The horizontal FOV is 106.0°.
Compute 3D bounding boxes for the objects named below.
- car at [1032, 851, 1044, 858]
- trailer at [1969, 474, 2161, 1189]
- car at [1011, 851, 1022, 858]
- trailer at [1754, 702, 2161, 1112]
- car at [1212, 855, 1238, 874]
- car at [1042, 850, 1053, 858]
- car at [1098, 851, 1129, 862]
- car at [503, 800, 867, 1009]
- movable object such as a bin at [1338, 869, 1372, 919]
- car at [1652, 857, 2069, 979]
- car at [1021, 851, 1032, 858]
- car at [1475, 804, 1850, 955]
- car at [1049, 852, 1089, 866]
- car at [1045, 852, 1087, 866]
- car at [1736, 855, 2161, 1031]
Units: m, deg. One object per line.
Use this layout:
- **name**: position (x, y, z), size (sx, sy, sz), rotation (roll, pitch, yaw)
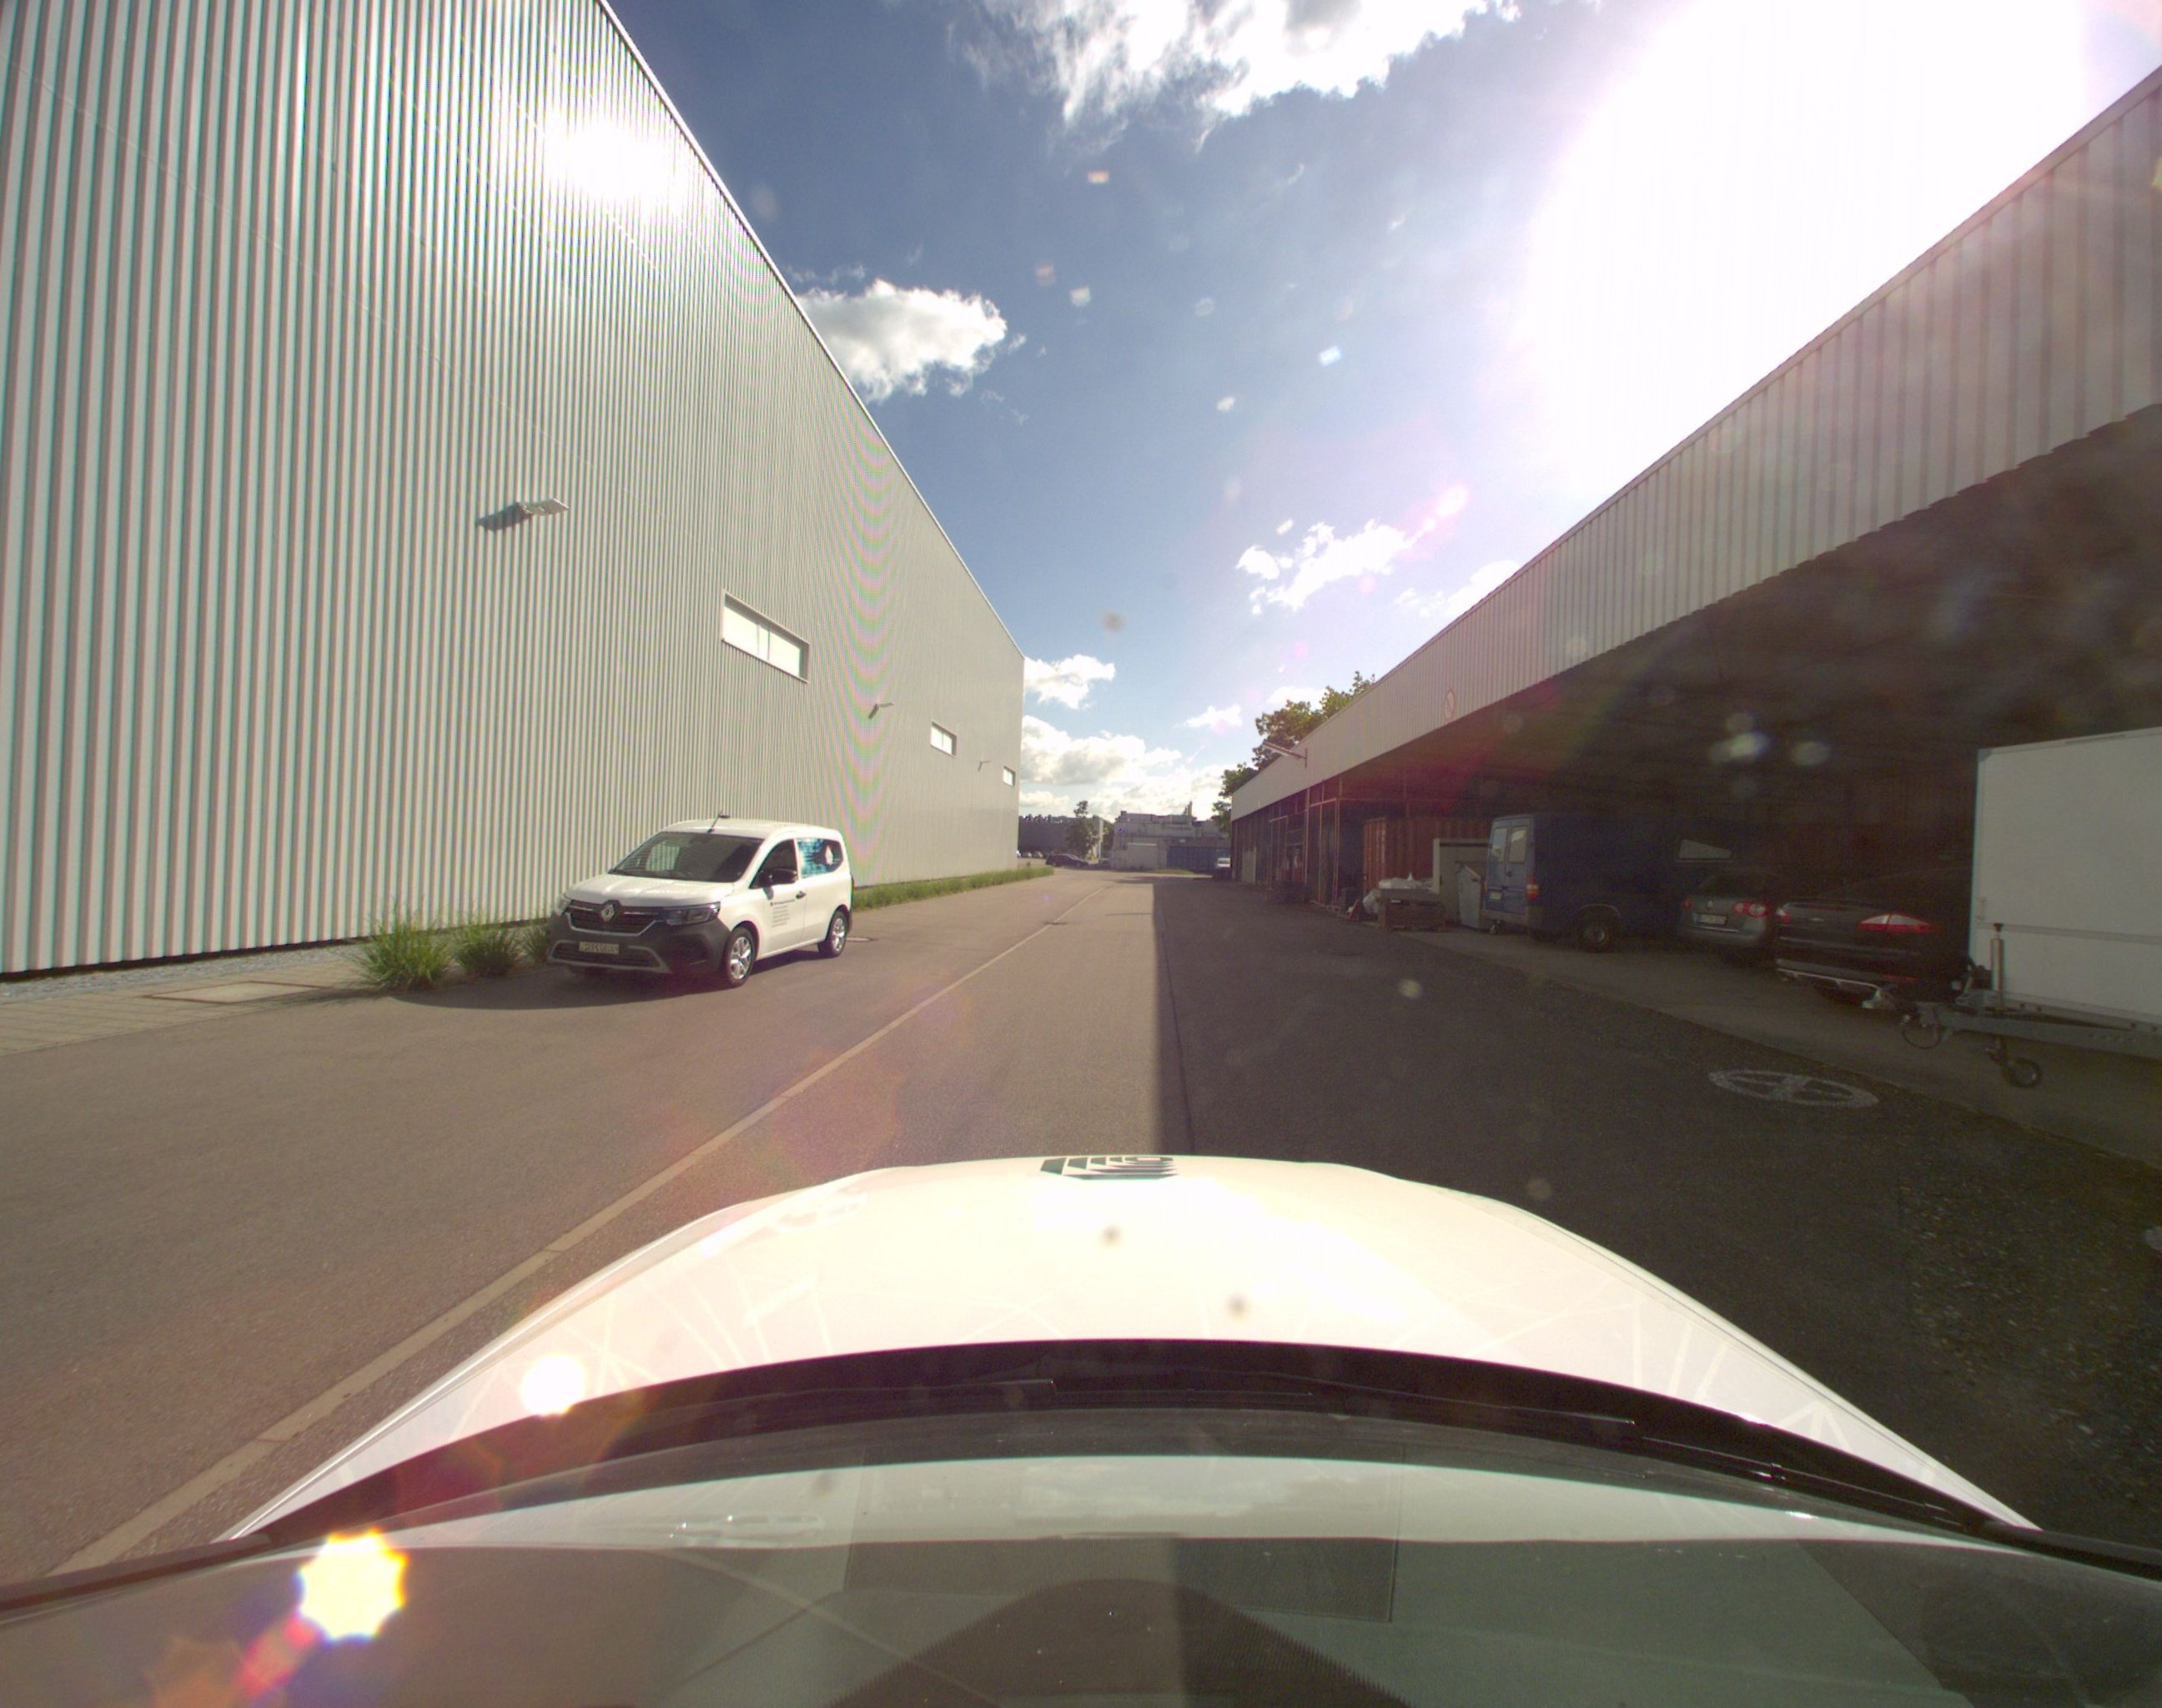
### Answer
- **car**: position (-10.083, 0.122, 190.189), size (2.183, 1.736, 4.004), rotation (0, -1, 4)
- **trailer**: position (9.799, -0.055, 2.757), size (9.991, 3.216, 2.857), rotation (1, 0, 4)
- **car**: position (-15.130, 0.176, 190.550), size (1.984, 1.736, 4.004), rotation (0, -1, 4)
- **trailer**: position (7.768, 0.328, 5.449), size (4.784, 2.391, 1.831), rotation (1, 0, 9)
- **car**: position (13.808, 0.983, 78.218), size (1.984, 1.585, 4.178), rotation (1, 1, 4)
- **car**: position (-7.687, 0.067, 188.305), size (2.183, 1.736, 4.004), rotation (0, -1, 4)
- **car**: position (4.784, 0.426, 119.357), size (4.504, 1.508, 1.912), rotation (1, 0, 5)
- **car**: position (-4.296, 0.471, 9.809), size (1.882, 1.845, 4.363), rotation (3, 0, 4)
- **movable object such as a bin**: position (6.707, 0.954, 19.989), size (0.578, 1.164, 1.241), rotation (0, 0, 9)
- **car**: position (10.330, 0.802, 11.028), size (3.974, 1.472, 1.788), rotation (1, 0, 0)
- **car**: position (-12.679, 0.162, 190.026), size (1.984, 1.736, 4.004), rotation (0, -1, 4)
- **car**: position (9.784, 0.389, 14.076), size (4.955, 2.325, 2.003), rotation (1, 0, 4)
- **car**: position (-1.413, 0.579, 95.339), size (4.503, 1.508, 1.912), rotation (1, 0, 6)
- **car**: position (-1.651, 0.554, 92.107), size (4.503, 1.508, 1.912), rotation (1, 0, 6)
- **car**: position (9.257, 0.780, 7.923), size (4.312, 1.496, 1.778), rotation (1, 0, 2)
